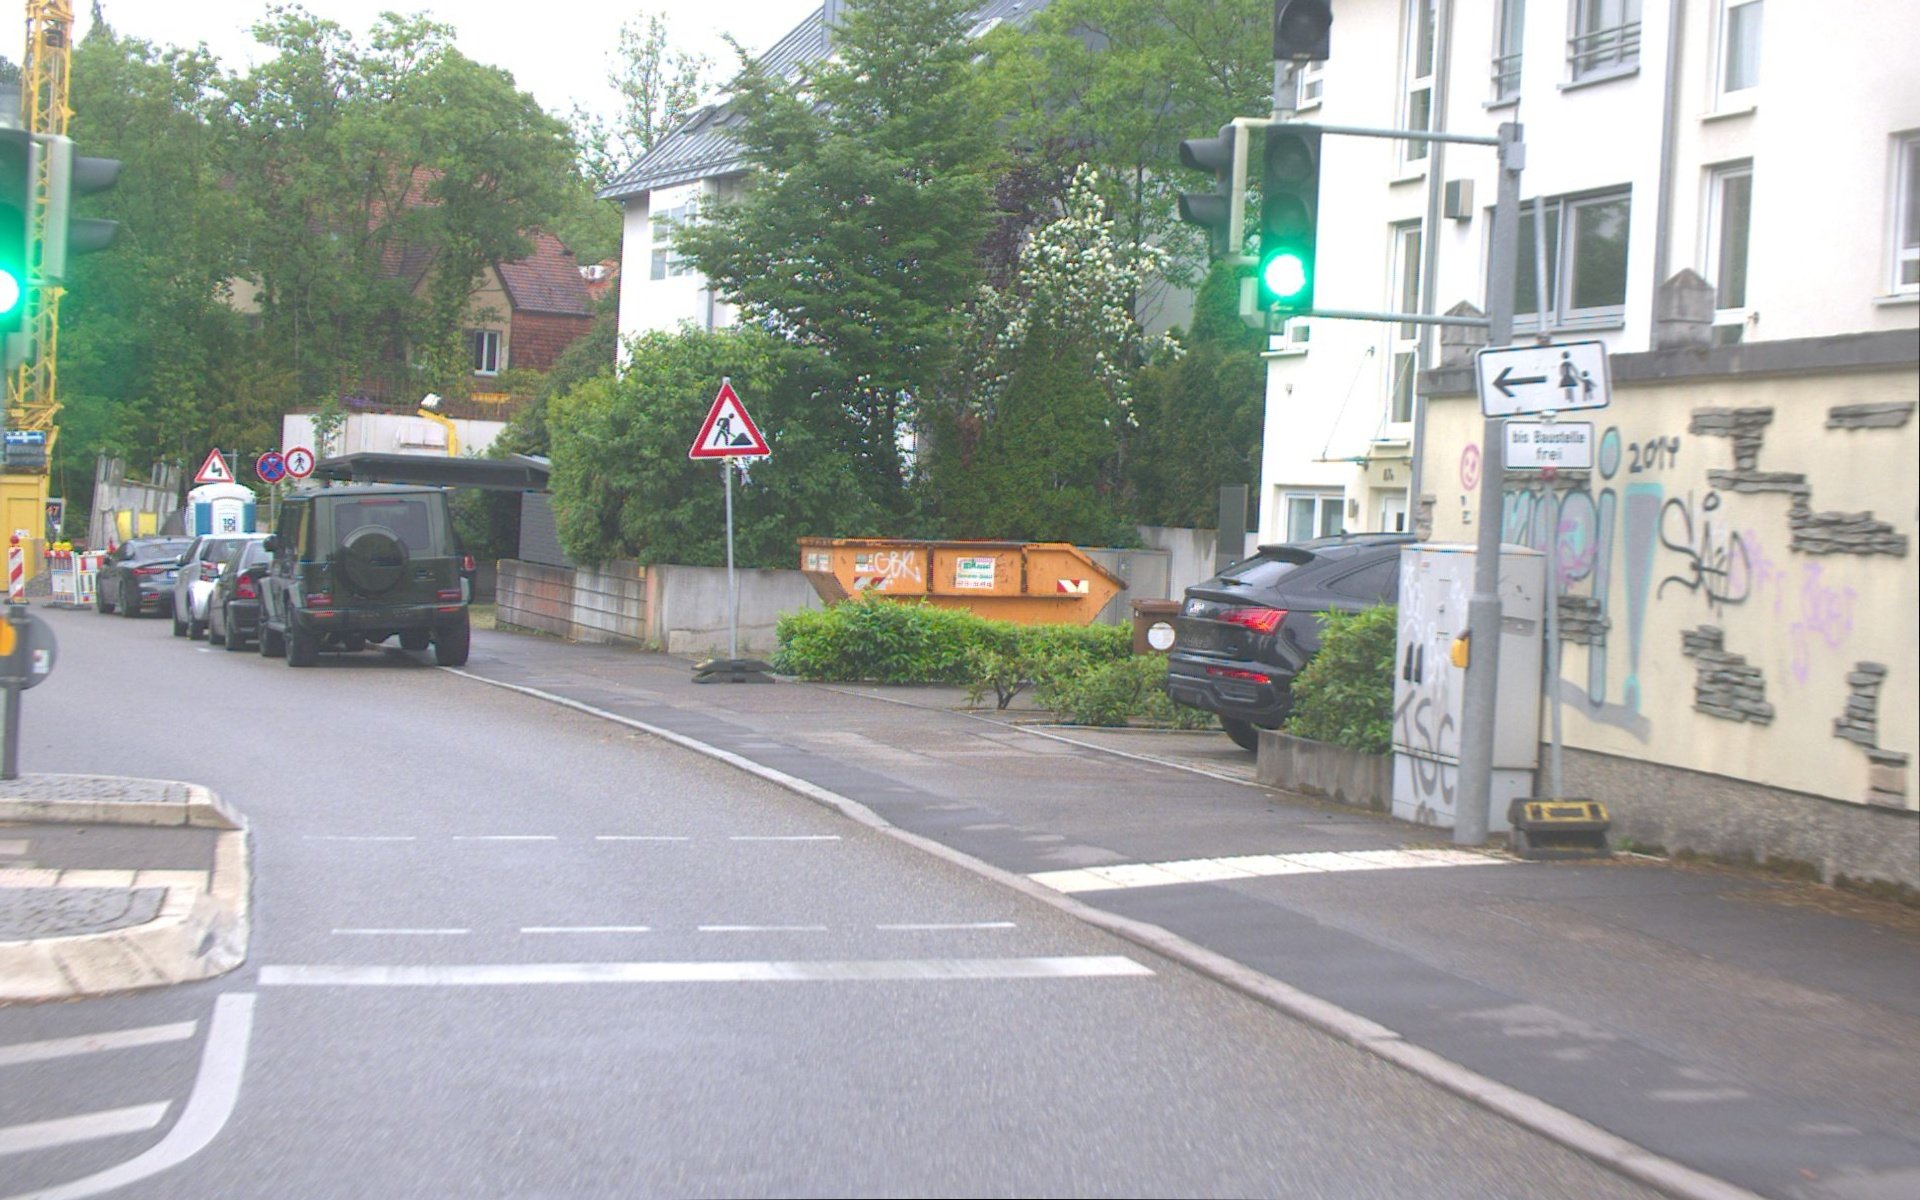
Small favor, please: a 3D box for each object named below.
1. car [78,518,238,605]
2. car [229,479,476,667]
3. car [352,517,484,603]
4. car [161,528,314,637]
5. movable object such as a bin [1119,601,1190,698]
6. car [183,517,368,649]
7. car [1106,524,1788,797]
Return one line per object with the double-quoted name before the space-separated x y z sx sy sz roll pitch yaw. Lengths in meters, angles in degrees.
"car" -14.467 -0.711 61.822 1.931 1.417 4.838 2 1 -23
"car" -7.029 -0.345 39.368 1.993 2.007 4.958 -1 1 -19
"car" -10.446 -0.777 66.052 1.694 1.467 4.001 5 0 -19
"car" -10.137 -0.261 48.101 1.672 1.452 3.387 1 1 -19
"movable object such as a bin" 1.947 0.494 34.382 0.506 0.938 0.595 1 1 -18
"car" -8.835 -0.240 44.118 1.931 1.590 4.396 -1 1 -16
"car" 3.478 0.430 24.781 4.326 1.590 1.993 5 0 -16
